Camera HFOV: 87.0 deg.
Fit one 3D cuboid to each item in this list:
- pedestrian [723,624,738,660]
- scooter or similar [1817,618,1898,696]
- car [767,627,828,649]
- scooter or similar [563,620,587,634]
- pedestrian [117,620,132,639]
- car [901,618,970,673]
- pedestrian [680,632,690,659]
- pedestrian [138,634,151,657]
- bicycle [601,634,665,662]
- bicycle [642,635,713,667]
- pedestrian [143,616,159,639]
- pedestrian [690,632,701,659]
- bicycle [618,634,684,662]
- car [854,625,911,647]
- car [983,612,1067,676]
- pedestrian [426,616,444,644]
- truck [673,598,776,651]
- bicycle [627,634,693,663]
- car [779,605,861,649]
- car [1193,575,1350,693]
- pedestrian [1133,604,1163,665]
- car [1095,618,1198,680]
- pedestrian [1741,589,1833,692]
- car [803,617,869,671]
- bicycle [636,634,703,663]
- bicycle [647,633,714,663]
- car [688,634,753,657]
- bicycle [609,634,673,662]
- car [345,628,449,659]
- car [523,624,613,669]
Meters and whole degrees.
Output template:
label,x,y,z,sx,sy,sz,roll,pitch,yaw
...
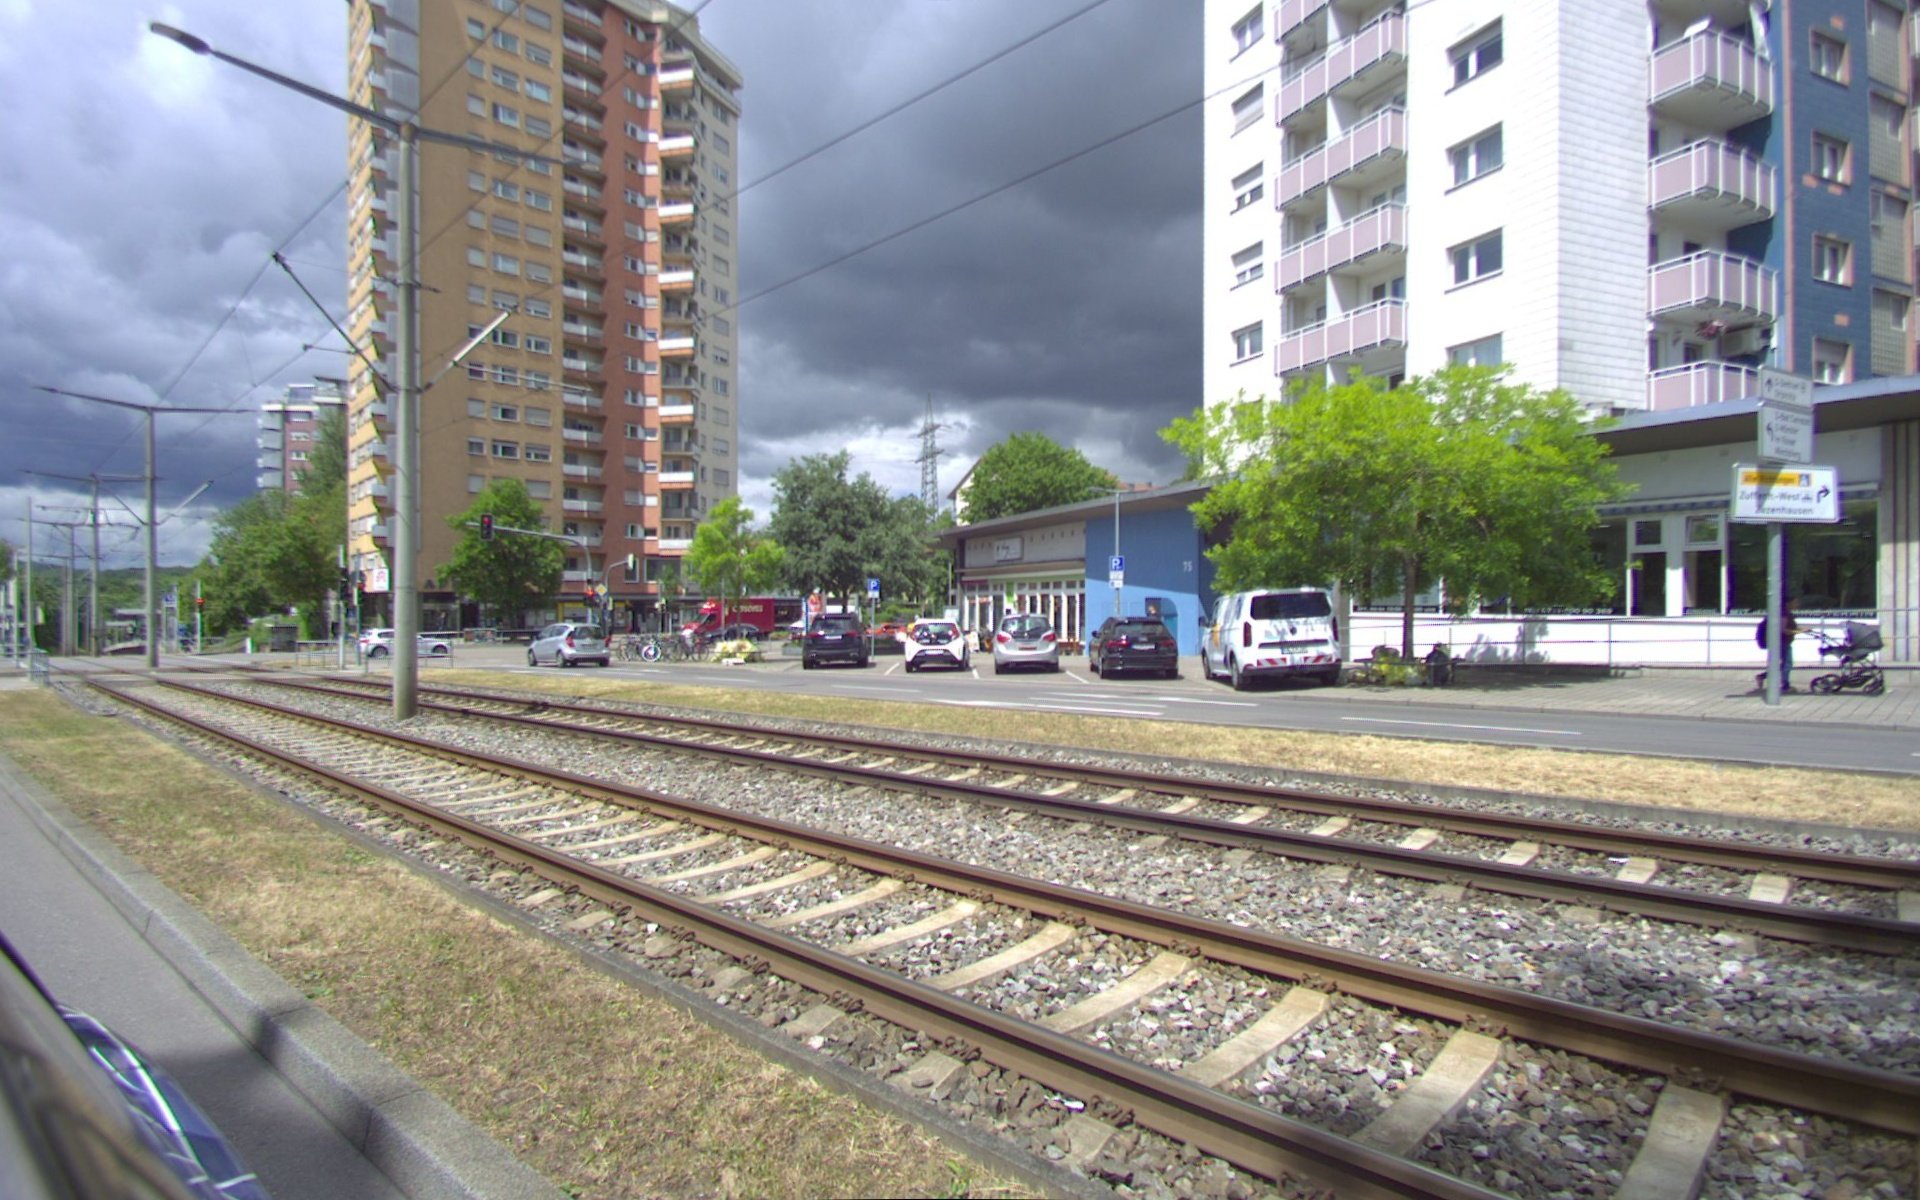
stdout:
label,x,y,z,sx,sy,sz,roll,pitch,yaw
pedestrian,-10.642,1.967,47.013,0.600,1.656,0.412,-2,-3,42
scooter or similar,13.717,0.864,15.473,0.571,1.133,0.771,-1,-2,-36
car,-11.875,2.781,73.994,3.934,1.614,2.004,1,-3,-37
scooter or similar,-30.036,2.119,78.953,0.545,1.102,1.729,-2,-3,41
pedestrian,-70.007,2.473,84.828,0.748,1.618,0.853,-3,-3,45
car,-0.654,1.325,29.725,1.724,1.508,3.762,-1,-2,4
pedestrian,-15.252,2.527,56.108,0.510,1.483,0.528,0,-2,-20
pedestrian,-68.227,3.794,84.678,0.573,1.946,0.760,-3,-3,43
bicycle,-13.178,1.922,40.796,0.705,1.074,2.399,-3,-3,44
bicycle,-10.121,1.806,36.293,0.717,1.042,2.400,-3,-1,44
pedestrian,-63.560,2.149,79.539,0.748,1.787,0.853,-3,-3,45
pedestrian,-14.810,2.554,56.712,0.562,1.483,0.528,0,-2,-20
bicycle,-12.087,1.871,39.648,0.705,1.074,2.399,-3,-3,44
car,-5.970,2.780,77.958,3.934,1.614,2.004,1,-3,-37
car,1.718,1.215,28.149,1.878,1.644,4.002,0,-2,-2
pedestrian,-36.702,2.114,70.748,0.854,1.949,0.907,-3,-3,45
truck,-17.197,1.814,74.153,6.987,3.703,2.551,1,-3,-40
bicycle,-11.554,1.846,39.074,0.705,1.074,2.399,-3,-3,44
car,-10.891,2.127,78.925,6.202,3.324,2.004,1,-3,-38
car,6.343,0.720,21.213,1.880,2.173,4.759,0,-2,2
pedestrian,5.767,1.062,31.063,0.761,1.835,0.890,-1,-1,3
car,4.497,1.178,24.926,1.881,1.394,3.997,0,-2,2
pedestrian,13.210,0.640,16.176,0.507,1.583,0.988,-1,-2,-36
car,-3.958,1.415,32.809,1.904,1.603,4.003,0,-2,-3
bicycle,-11.030,1.822,38.519,0.705,1.074,2.399,-3,-3,44
bicycle,-10.462,1.799,37.997,0.705,1.074,2.399,-3,-3,44
car,-16.591,3.142,70.108,3.936,1.506,2.004,1,-3,-39
bicycle,-12.650,1.896,40.215,0.705,1.074,2.399,-3,-3,44
car,-27.892,2.135,50.201,4.208,1.462,1.798,1,-3,-40
car,-14.220,1.672,36.663,1.796,1.544,3.758,2,-3,-42
